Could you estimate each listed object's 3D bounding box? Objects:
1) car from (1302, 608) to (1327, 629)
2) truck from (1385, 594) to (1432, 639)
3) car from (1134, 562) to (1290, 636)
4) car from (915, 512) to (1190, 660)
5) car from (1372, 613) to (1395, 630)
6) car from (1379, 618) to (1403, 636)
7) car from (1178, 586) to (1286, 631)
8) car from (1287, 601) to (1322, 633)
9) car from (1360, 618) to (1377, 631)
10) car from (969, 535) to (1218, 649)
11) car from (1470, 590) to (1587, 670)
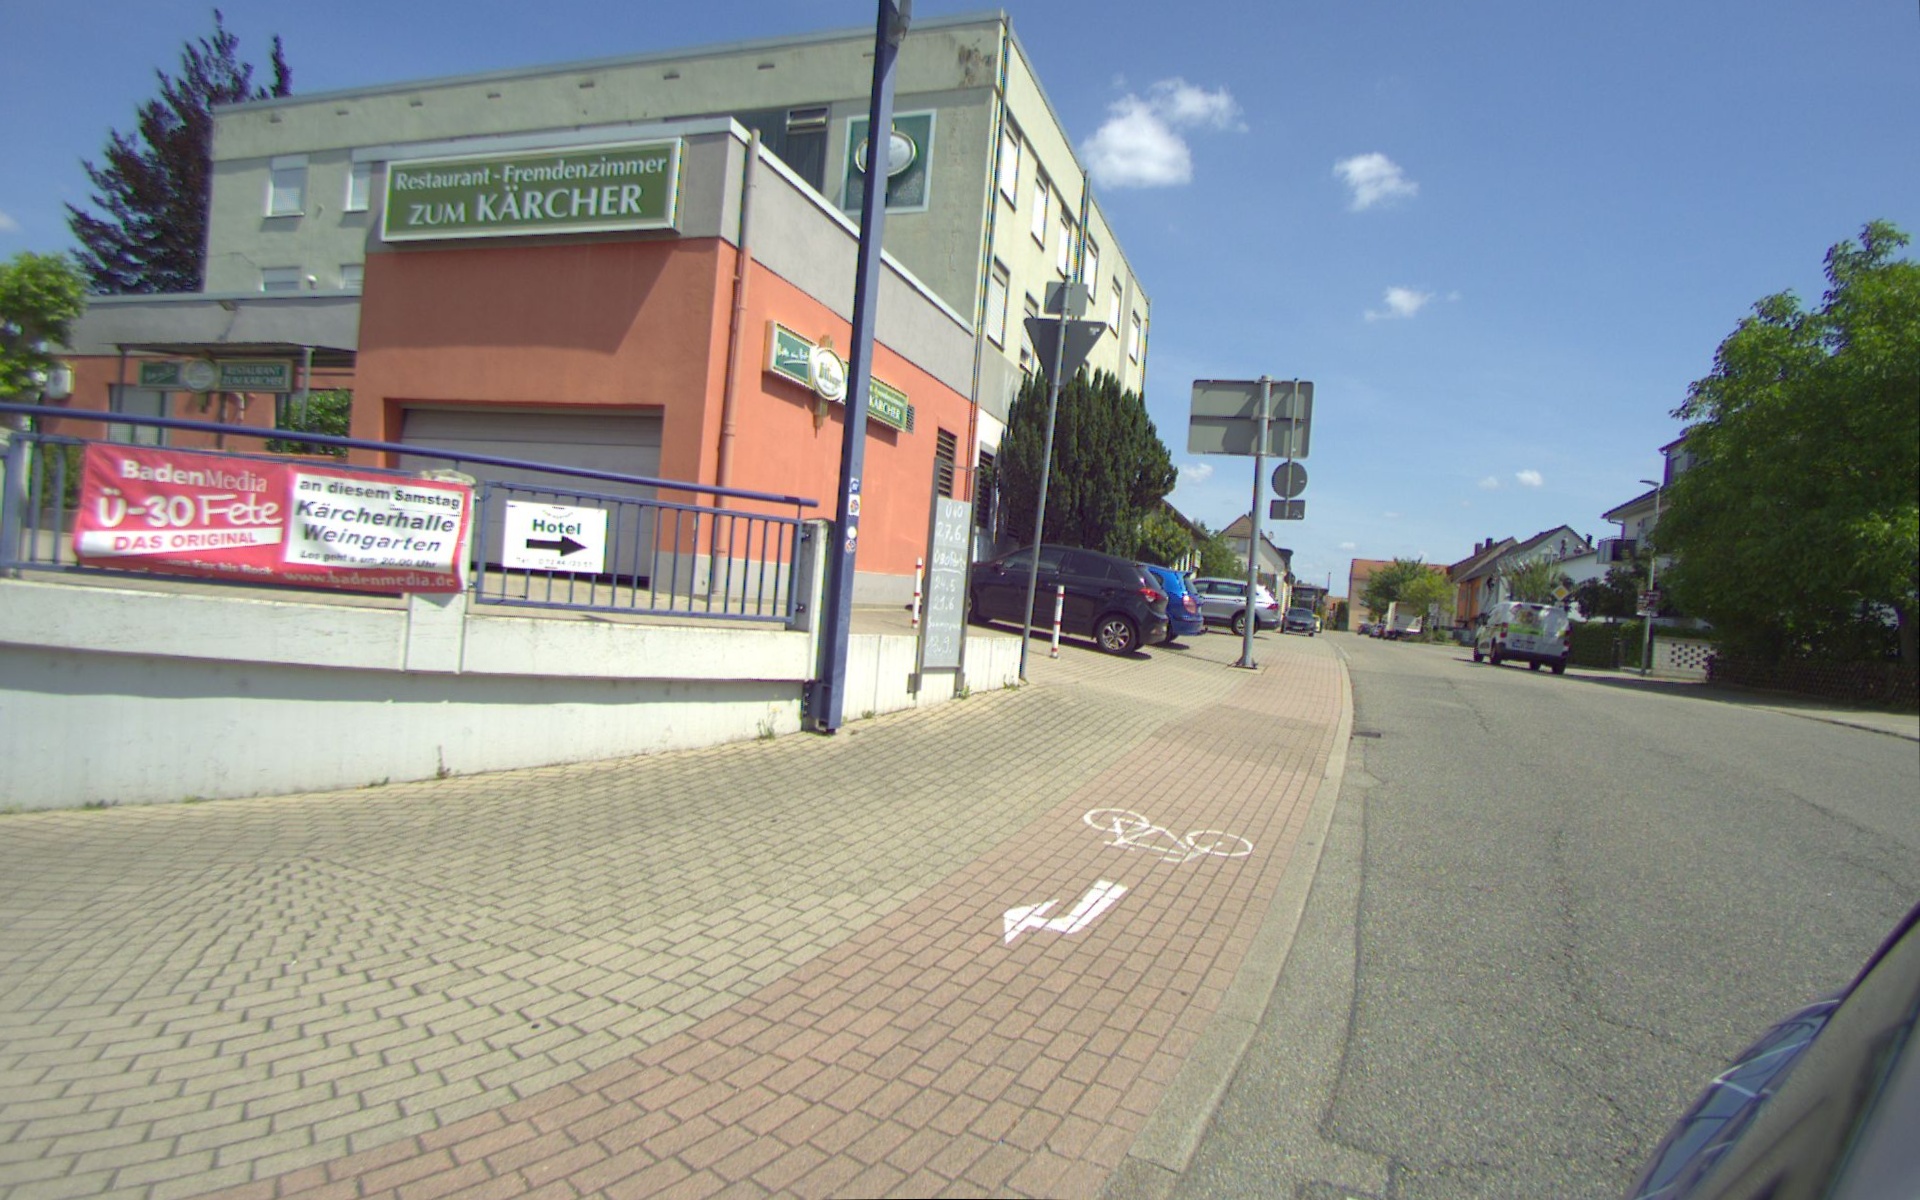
[{"bbox_3d":[29.040,1.530,82.945,1.702,1.414,4.187,9,2,19],"label":"car"},{"bbox_3d":[37.542,1.375,84.917,2.415,3.284,6.996,8,2,17],"label":"truck"},{"bbox_3d":[7.807,-0.026,31.364,4.412,1.717,1.911,7,1,18],"label":"car"},{"bbox_3d":[1.497,-0.264,16.055,3.864,1.506,1.799,12,4,18],"label":"car"},{"bbox_3d":[43.563,2.222,104.215,1.701,1.518,4.189,7,1,19],"label":"car"},{"bbox_3d":[41.746,2.627,98.104,1.701,1.518,4.189,7,1,19],"label":"car"},{"bbox_3d":[12.388,0.371,46.091,4.489,1.471,1.905,7,1,21],"label":"car"},{"bbox_3d":[18.756,0.918,55.242,1.612,1.507,4.114,6,1,18],"label":"car"},{"bbox_3d":[53.534,3.193,132.735,1.701,1.518,4.189,7,1,19],"label":"car"},{"bbox_3d":[2.539,-0.206,19.130,4.286,1.456,1.769,9,4,20],"label":"car"},{"bbox_3d":[16.165,0.829,29.037,1.795,1.877,4.533,8,1,17],"label":"car"}]
